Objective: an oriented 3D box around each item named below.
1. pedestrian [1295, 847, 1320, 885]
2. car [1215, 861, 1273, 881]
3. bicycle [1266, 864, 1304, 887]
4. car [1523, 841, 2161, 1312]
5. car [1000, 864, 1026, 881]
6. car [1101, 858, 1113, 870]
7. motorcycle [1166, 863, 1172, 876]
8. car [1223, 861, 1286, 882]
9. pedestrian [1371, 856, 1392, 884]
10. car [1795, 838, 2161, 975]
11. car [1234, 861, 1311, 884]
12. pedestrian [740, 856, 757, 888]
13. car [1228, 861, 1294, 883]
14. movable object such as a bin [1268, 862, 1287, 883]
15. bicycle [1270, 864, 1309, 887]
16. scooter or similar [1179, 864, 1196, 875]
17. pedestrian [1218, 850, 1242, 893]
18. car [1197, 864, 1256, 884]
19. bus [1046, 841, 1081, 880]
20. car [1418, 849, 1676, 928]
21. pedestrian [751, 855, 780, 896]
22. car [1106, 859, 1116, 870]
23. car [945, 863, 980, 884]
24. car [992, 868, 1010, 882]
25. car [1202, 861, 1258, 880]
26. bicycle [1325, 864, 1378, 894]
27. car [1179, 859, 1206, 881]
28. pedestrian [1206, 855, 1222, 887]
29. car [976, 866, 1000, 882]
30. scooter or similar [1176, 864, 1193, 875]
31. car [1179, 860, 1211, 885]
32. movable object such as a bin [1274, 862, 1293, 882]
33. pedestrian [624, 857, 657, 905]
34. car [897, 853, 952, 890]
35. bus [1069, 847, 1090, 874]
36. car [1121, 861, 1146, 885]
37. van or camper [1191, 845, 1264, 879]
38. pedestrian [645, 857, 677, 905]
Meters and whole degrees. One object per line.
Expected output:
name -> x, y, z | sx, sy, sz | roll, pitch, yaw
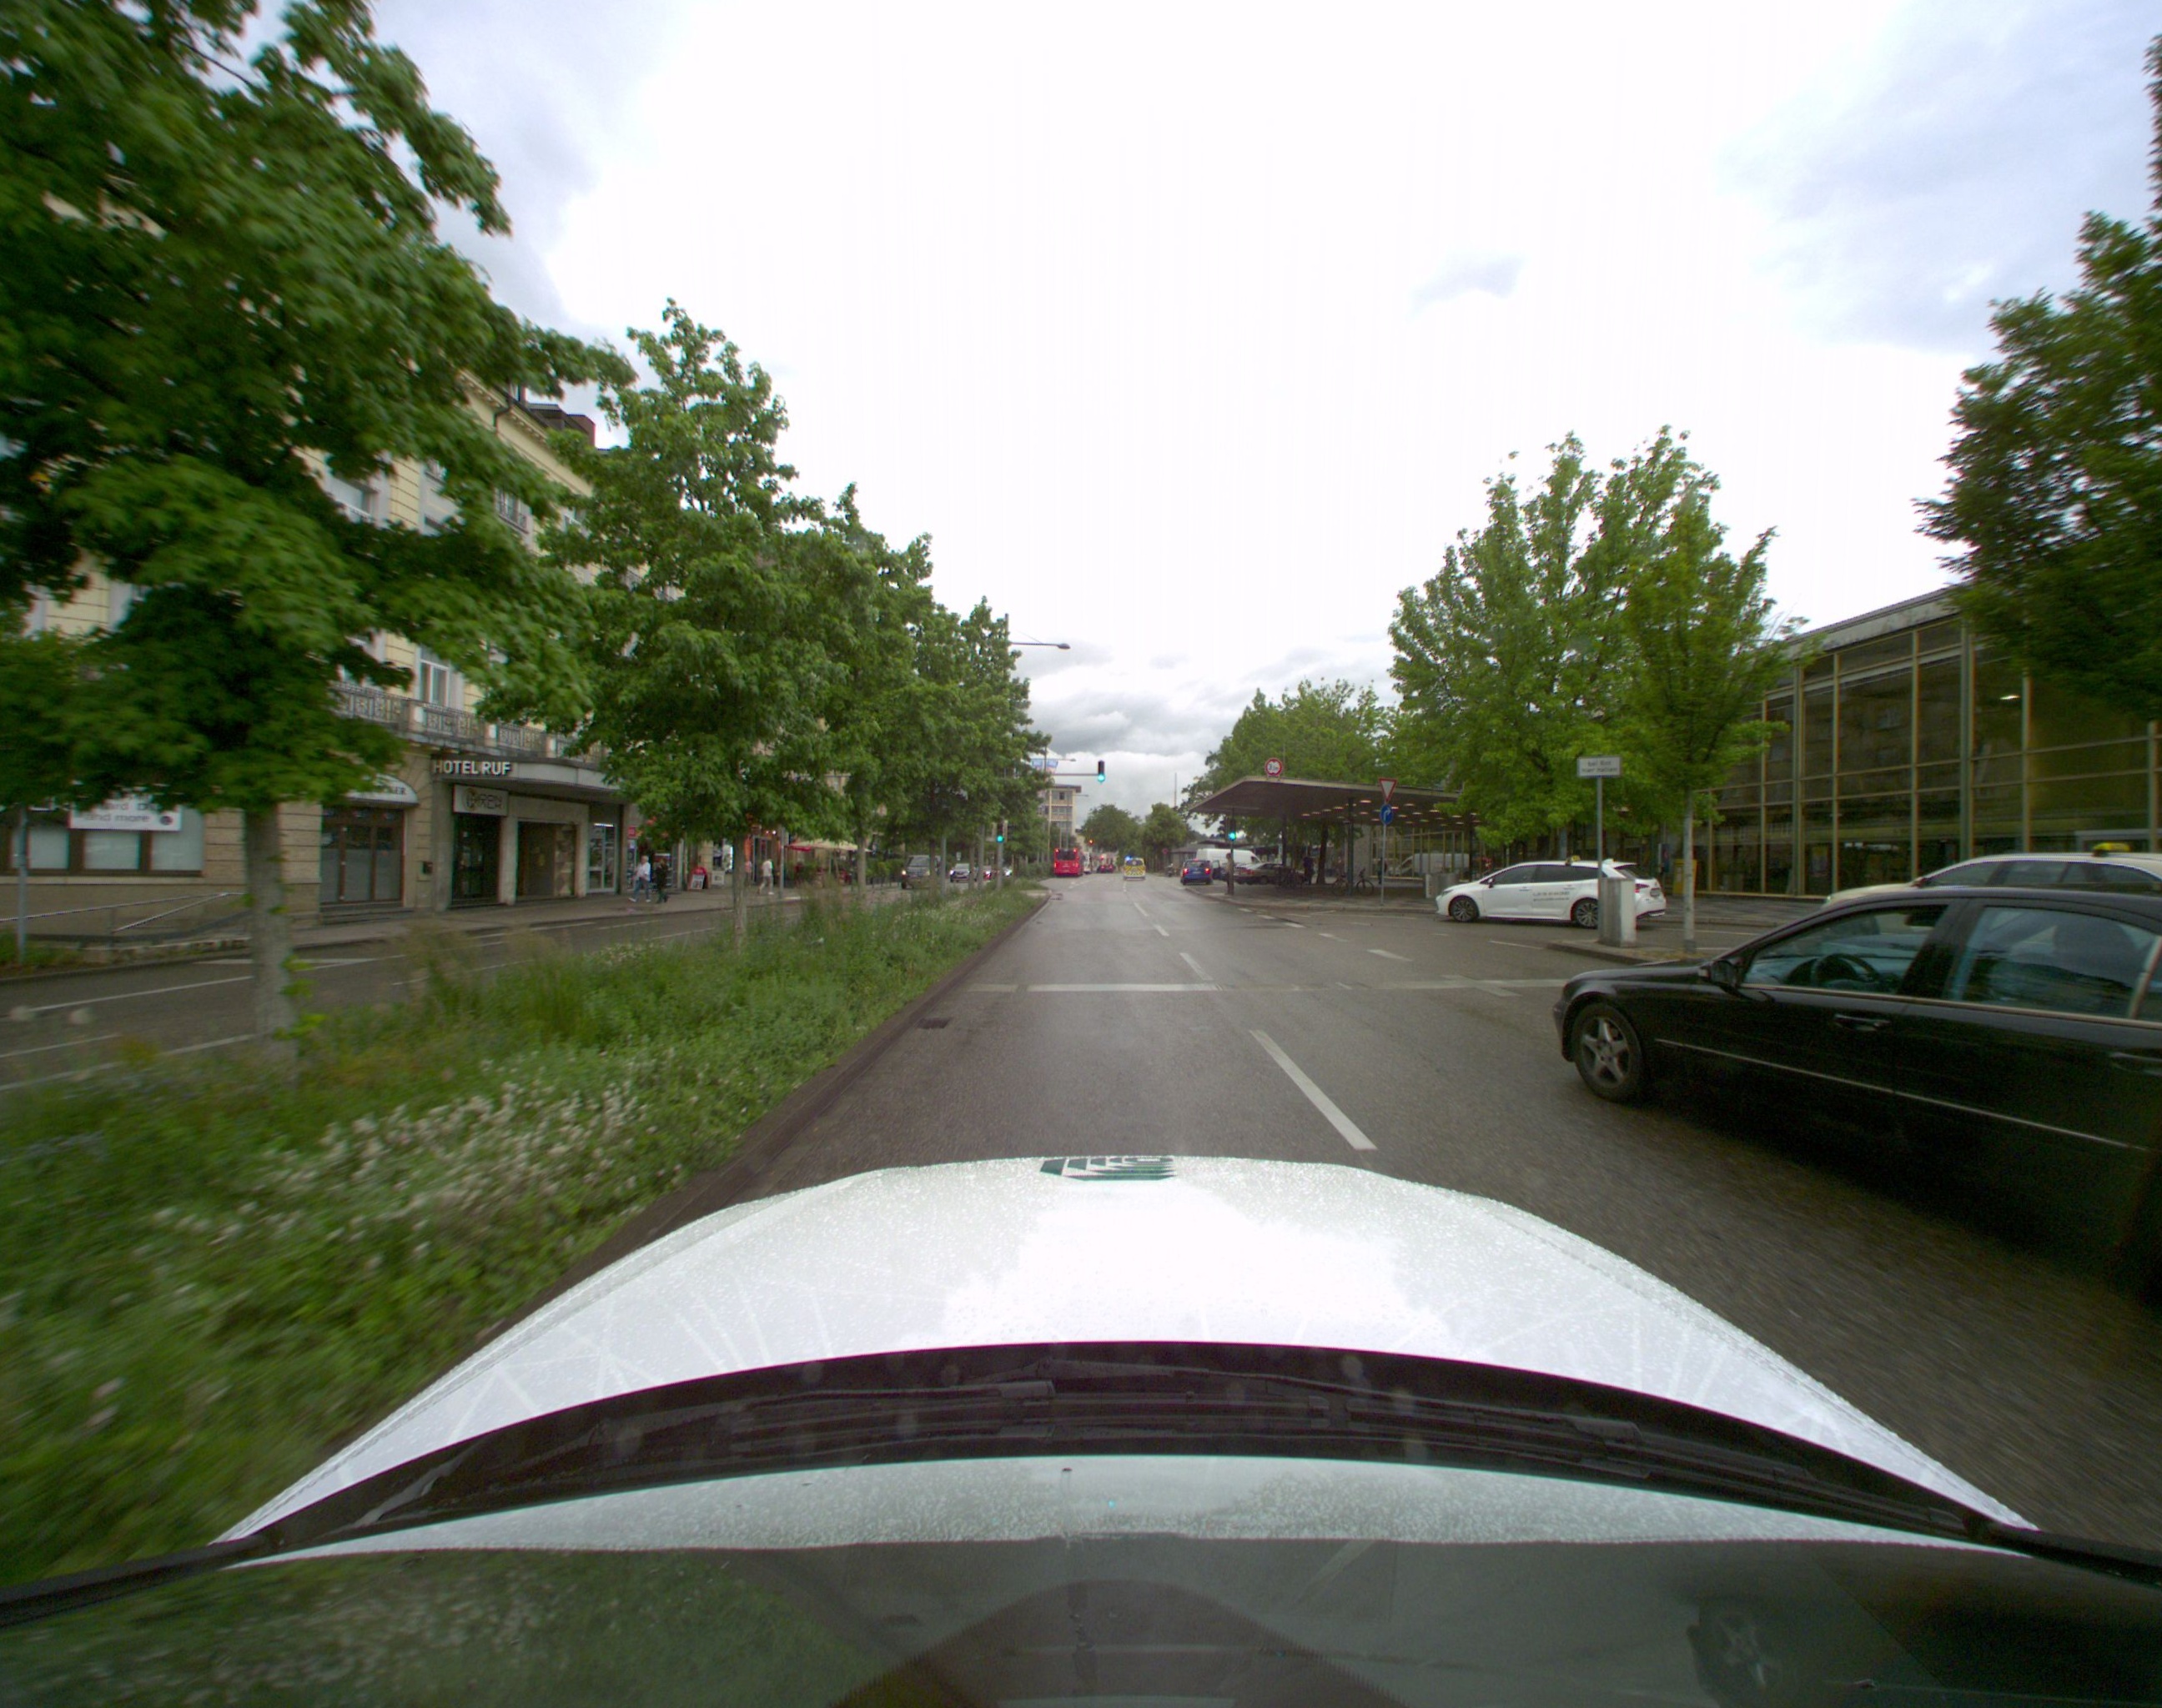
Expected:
pedestrian -> 11.137, 0.606, 40.097 | 0.853, 1.835, 1.190 | -1, -2, 1
car -> 12.335, 1.264, 61.608 | 4.007, 1.443, 1.849 | 0, -2, -25
bicycle -> 9.791, 1.023, 39.083 | 1.832, 1.056, 0.418 | -1, -1, -17
car -> 4.140, 0.697, 3.556 | 1.692, 1.466, 4.443 | -2, -1, -5
car -> -6.637, 1.764, 80.010 | 1.986, 1.543, 4.634 | -2, -1, 2
car -> 4.547, 1.762, 140.483 | 1.986, 2.014, 4.001 | -2, -1, 1
motorcycle -> 9.421, 1.635, 86.784 | 0.592, 1.288, 1.957 | -1, -1, 7
car -> 12.027, 1.197, 56.385 | 4.007, 1.443, 1.849 | 0, -2, -25
pedestrian -> 17.287, 0.938, 46.863 | 0.864, 1.559, 0.812 | -2, -1, -6
car -> 13.629, 0.625, 11.741 | 1.991, 1.599, 4.947 | -2, 0, -6
car -> 11.600, 1.102, 49.403 | 4.197, 1.325, 1.828 | 0, -1, -19
pedestrian -> -17.327, 0.936, 42.427 | 0.666, 1.664, 0.535 | -2, -1, -7
car -> 11.712, 1.152, 53.068 | 4.011, 1.359, 1.847 | 0, -2, -29
movable object such as a bin -> 11.026, 1.034, 45.660 | 0.751, 1.095, 0.746 | -2, -1, -11
bicycle -> 9.892, 1.019, 38.634 | 1.832, 1.056, 0.418 | -1, -1, -17
scooter or similar -> 11.704, 1.711, 89.104 | 2.161, 1.110, 0.438 | -1, -1, -38
pedestrian -> 6.300, 0.741, 34.450 | 0.745, 1.747, 0.834 | -1, -2, -7
car -> 10.747, 1.457, 60.182 | 4.007, 1.443, 1.849 | 0, -2, -25
bus -> -1.855, 0.800, 91.483 | 3.533, 3.979, 11.169 | -2, -1, 0
car -> 10.317, 0.738, 18.385 | 1.772, 1.546, 4.722 | 0, -2, -38
pedestrian -> -14.645, 0.984, 37.837 | 0.876, 1.812, 0.750 | -5, -1, 1
car -> 5.723, 2.078, 155.757 | 1.986, 2.014, 4.001 | -2, -1, 1
car -> -9.616, 1.567, 66.529 | 1.986, 1.543, 4.634 | -2, -1, 2
car -> -9.414, 2.433, 96.374 | 1.592, 1.531, 3.654 | -2, -1, 2
car -> 11.656, 1.317, 63.816 | 4.007, 1.443, 1.849 | 0, -2, -25
bicycle -> 10.040, 0.935, 30.235 | 1.821, 1.056, 0.420 | -2, -1, 0
car -> 7.987, 1.160, 58.525 | 1.778, 1.523, 3.687 | -1, -1, 6
pedestrian -> 8.619, 1.093, 52.885 | 0.829, 2.014, 0.888 | -2, -1, -3
car -> -9.055, 1.964, 79.746 | 1.741, 1.430, 3.954 | -2, -1, 2
scooter or similar -> 11.371, 1.730, 89.475 | 2.161, 1.110, 0.423 | -1, -1, -38
car -> 7.326, 1.180, 52.574 | 1.850, 1.569, 4.005 | -1, -1, 5
movable object such as a bin -> 11.069, 0.992, 44.470 | 0.750, 1.067, 0.747 | -2, -1, -8
pedestrian -> -15.702, 0.959, 29.034 | 0.678, 1.664, 0.808 | -2, -1, 4
car -> -9.236, 1.042, 48.421 | 1.985, 2.014, 5.004 | -2, -1, 3
bus -> -0.229, 1.057, 121.333 | 2.796, 3.747, 10.442 | -1, -1, 0
car -> 4.586, 1.650, 71.682 | 1.986, 2.014, 5.063 | -2, -1, 1
van or camper -> 12.571, 0.658, 69.870 | 5.977, 2.763, 2.180 | -1, -1, -26
pedestrian -> -14.953, 0.970, 29.014 | 0.679, 1.664, 0.807 | -2, -1, 1
